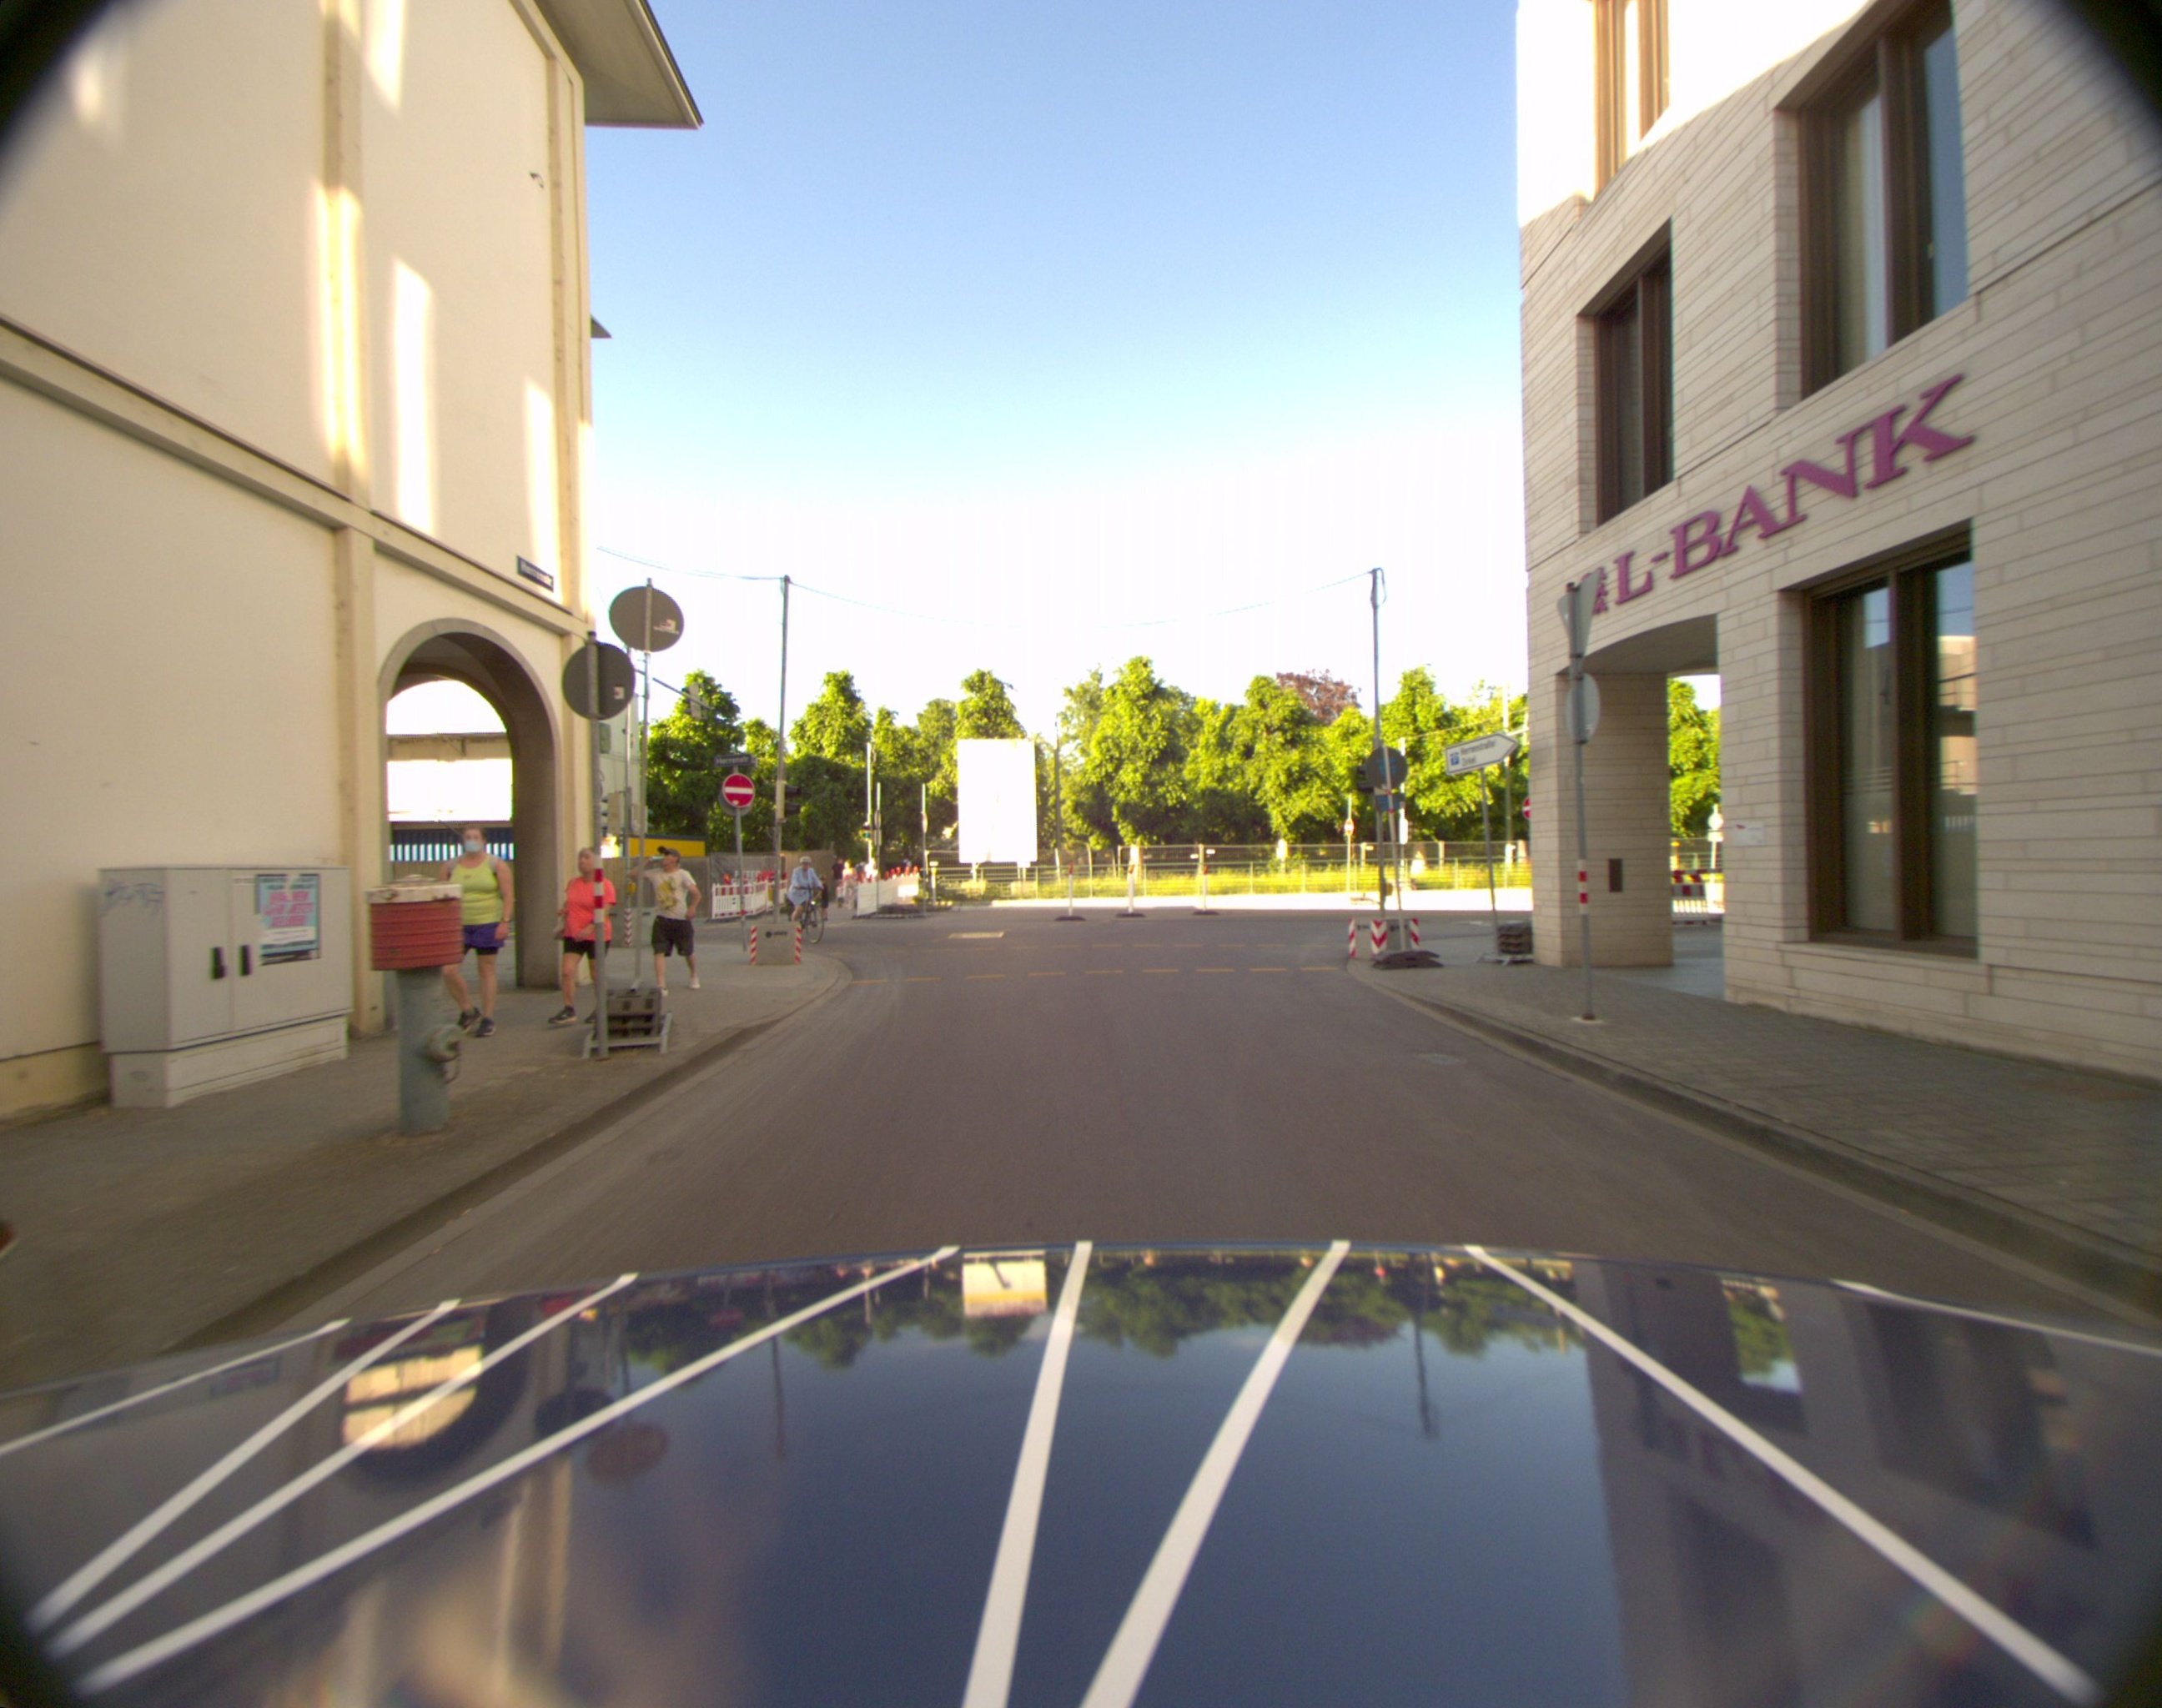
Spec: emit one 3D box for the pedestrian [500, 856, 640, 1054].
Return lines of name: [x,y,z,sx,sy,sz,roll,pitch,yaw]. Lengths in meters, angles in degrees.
pedestrian: [-4.485,0.849,6.711,0.685,1.627,0.693,3,0,0]

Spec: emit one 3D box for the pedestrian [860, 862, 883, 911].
pedestrian: [-7.150,1.100,25.971,0.626,1.604,0.623,-2,1,-7]

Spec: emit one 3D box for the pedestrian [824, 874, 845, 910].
pedestrian: [-8.466,1.296,26.098,0.535,1.169,0.623,-2,1,-7]

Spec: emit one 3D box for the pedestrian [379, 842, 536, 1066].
pedestrian: [-5.008,0.765,6.144,0.685,1.705,0.693,0,0,0]

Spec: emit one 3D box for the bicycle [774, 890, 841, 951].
bicycle: [-5.604,1.309,15.502,0.597,1.077,2.304,-3,1,-37]

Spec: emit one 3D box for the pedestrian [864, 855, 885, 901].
pedestrian: [-8.126,0.938,29.944,0.626,1.773,0.623,-2,1,-7]

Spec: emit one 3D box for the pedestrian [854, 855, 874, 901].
pedestrian: [-8.737,0.955,30.580,0.626,1.773,0.623,-2,1,-7]

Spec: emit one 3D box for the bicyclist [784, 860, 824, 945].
bicyclist: [-5.677,0.982,15.568,0.587,1.679,0.537,-3,1,-36]

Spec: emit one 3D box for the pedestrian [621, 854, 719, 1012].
pedestrian: [-4.620,0.865,8.584,0.685,1.705,0.694,1,-1,0]

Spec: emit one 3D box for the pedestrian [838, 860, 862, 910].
pedestrian: [-7.837,1.044,25.801,0.626,1.632,0.623,-2,1,-7]

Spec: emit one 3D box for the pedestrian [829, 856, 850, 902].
pedestrian: [-9.644,0.992,30.403,0.626,1.773,0.623,-2,1,-7]

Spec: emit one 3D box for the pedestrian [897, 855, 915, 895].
pedestrian: [-7.900,0.951,34.340,0.626,1.773,0.623,-2,1,-7]
